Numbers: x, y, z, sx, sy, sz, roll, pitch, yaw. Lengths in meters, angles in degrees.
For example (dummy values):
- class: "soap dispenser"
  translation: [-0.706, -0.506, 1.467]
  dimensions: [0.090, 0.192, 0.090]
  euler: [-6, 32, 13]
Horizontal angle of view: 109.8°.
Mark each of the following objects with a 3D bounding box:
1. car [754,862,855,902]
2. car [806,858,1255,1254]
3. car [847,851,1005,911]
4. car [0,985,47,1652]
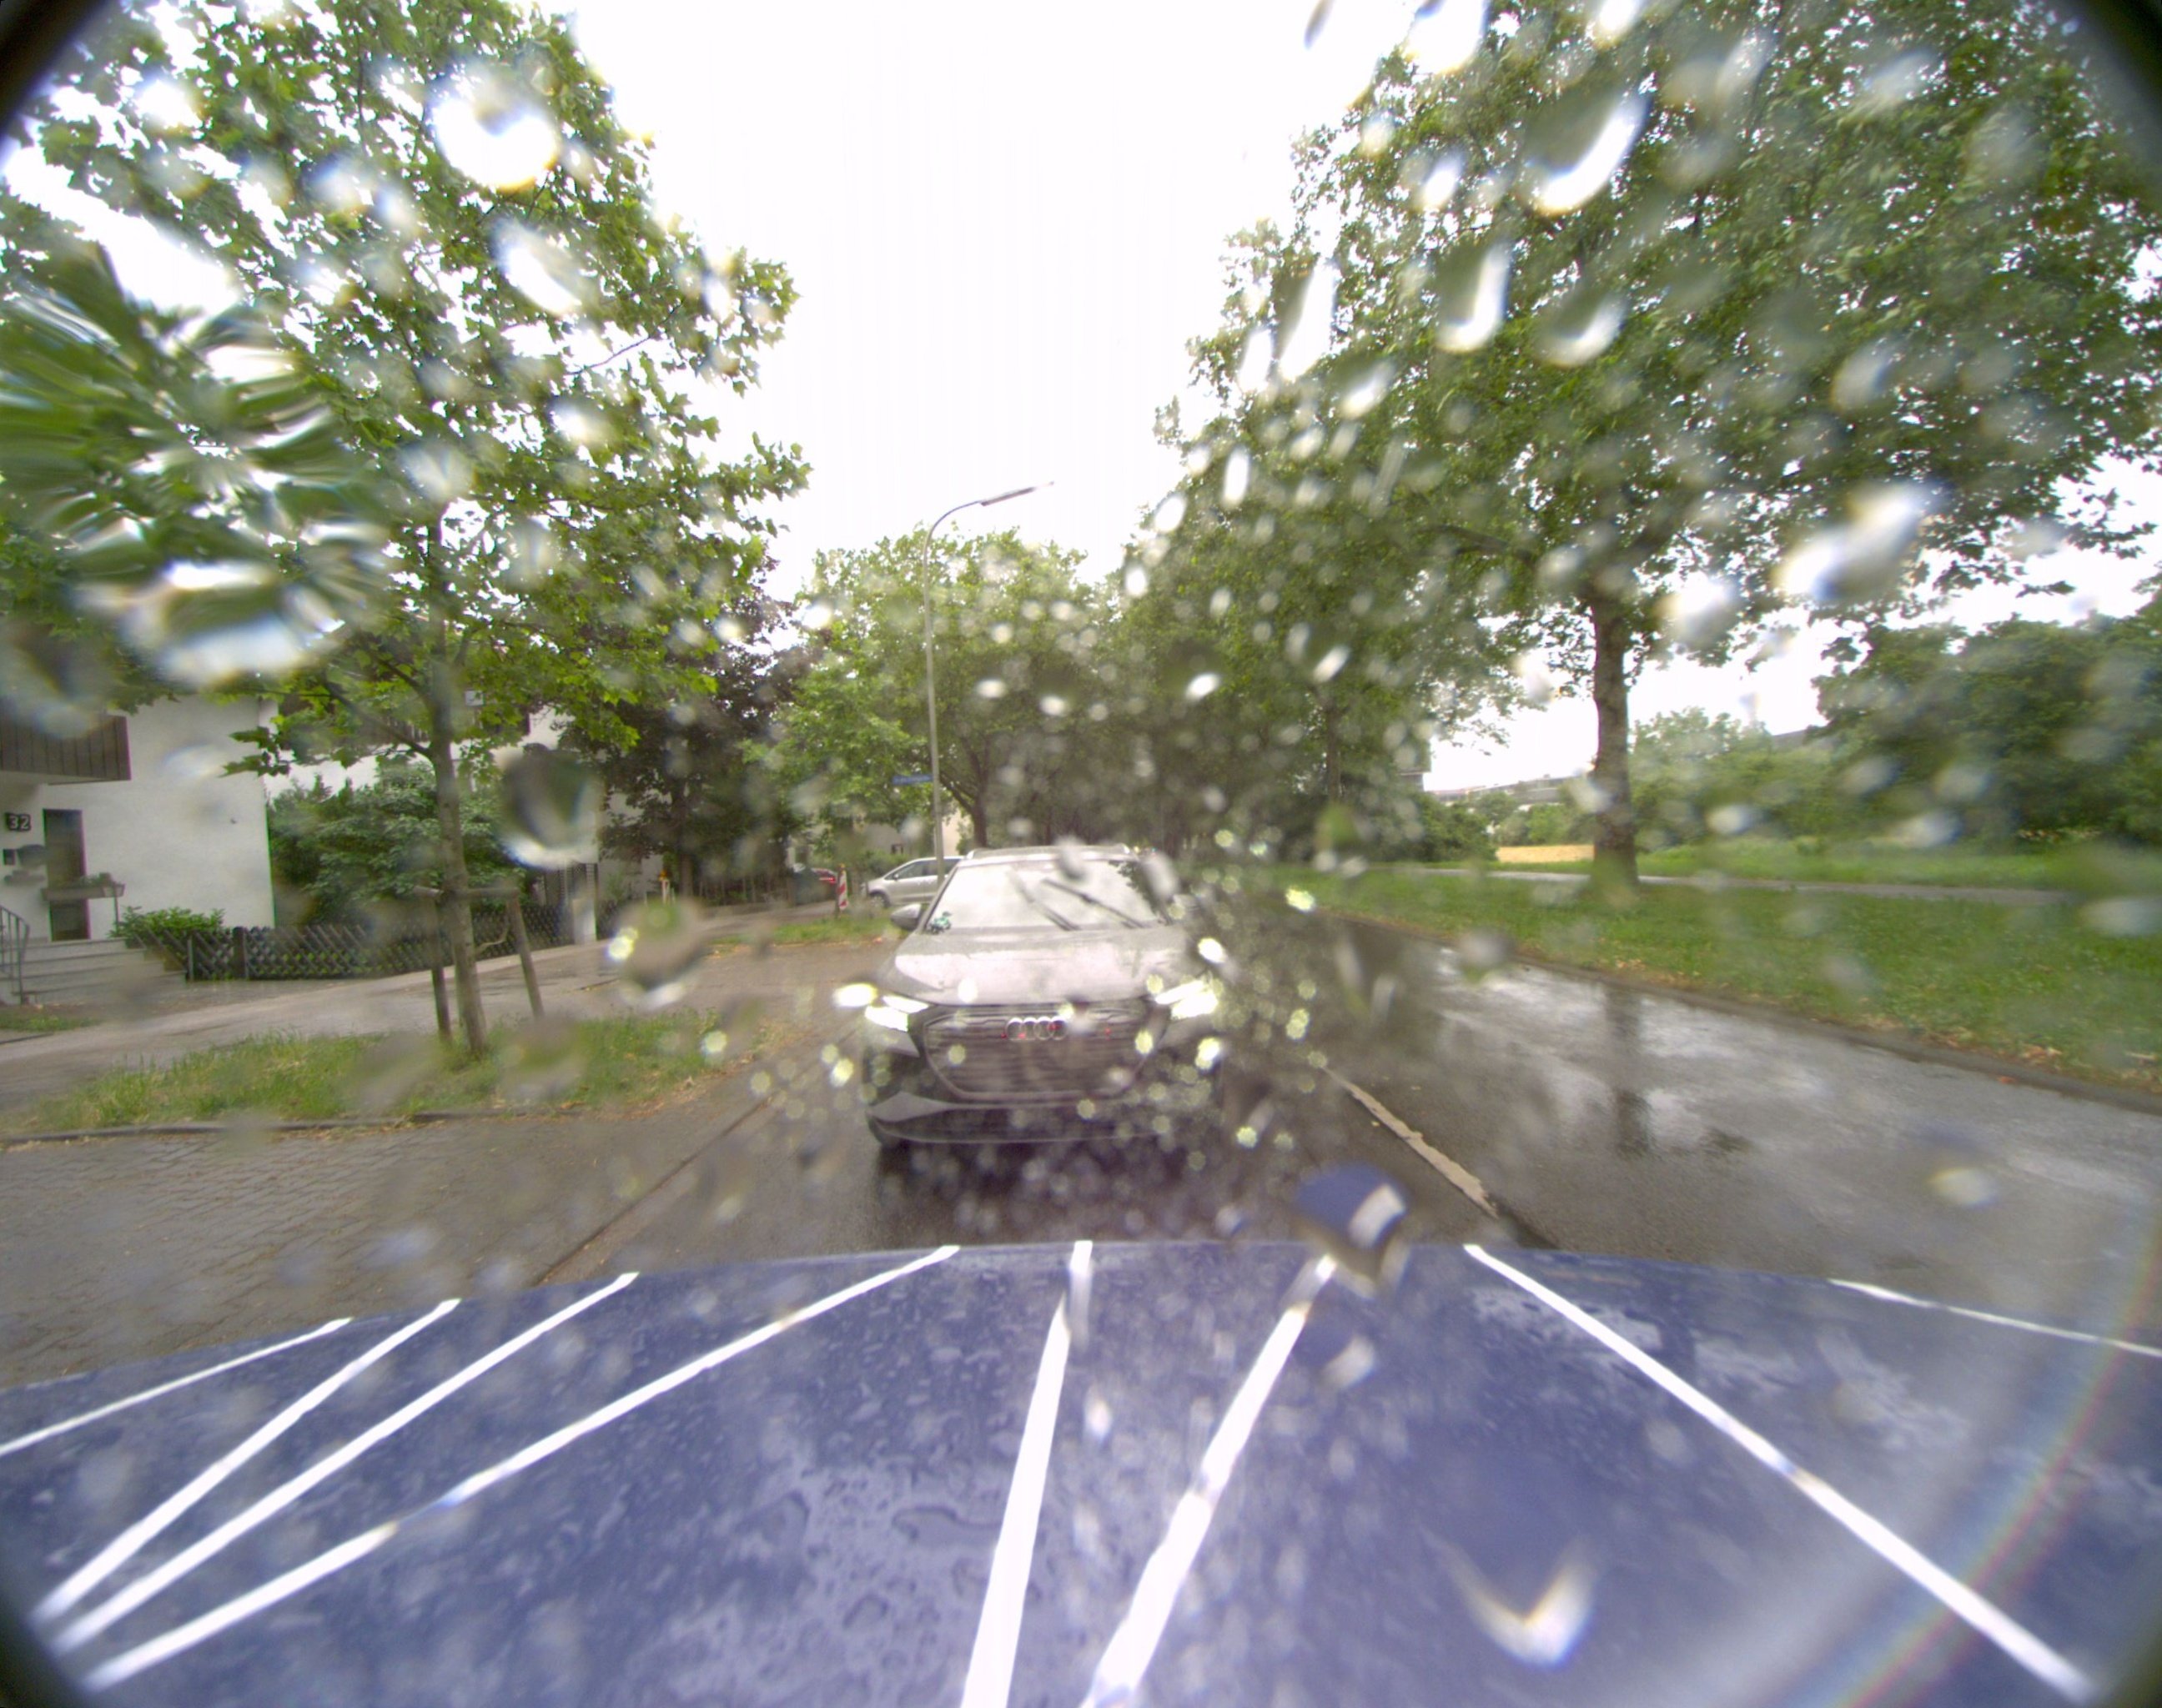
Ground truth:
- class: "car"
  translation: [-12.638, 1.270, 34.901]
  dimensions: [3.853, 1.603, 1.843]
  euler: [-3, 0, 2]
- class: "car"
  translation: [-0.183, 0.888, 5.483]
  dimensions: [1.862, 1.608, 4.423]
  euler: [-3, 0, 1]
- class: "car"
  translation: [-4.936, 0.845, 24.729]
  dimensions: [4.701, 1.651, 1.976]
  euler: [-3, 0, -1]
- class: "car"
  translation: [-4.741, 1.125, 0.617]
  dimensions: [4.779, 1.464, 1.937]
  euler: [-2, 0, -4]
